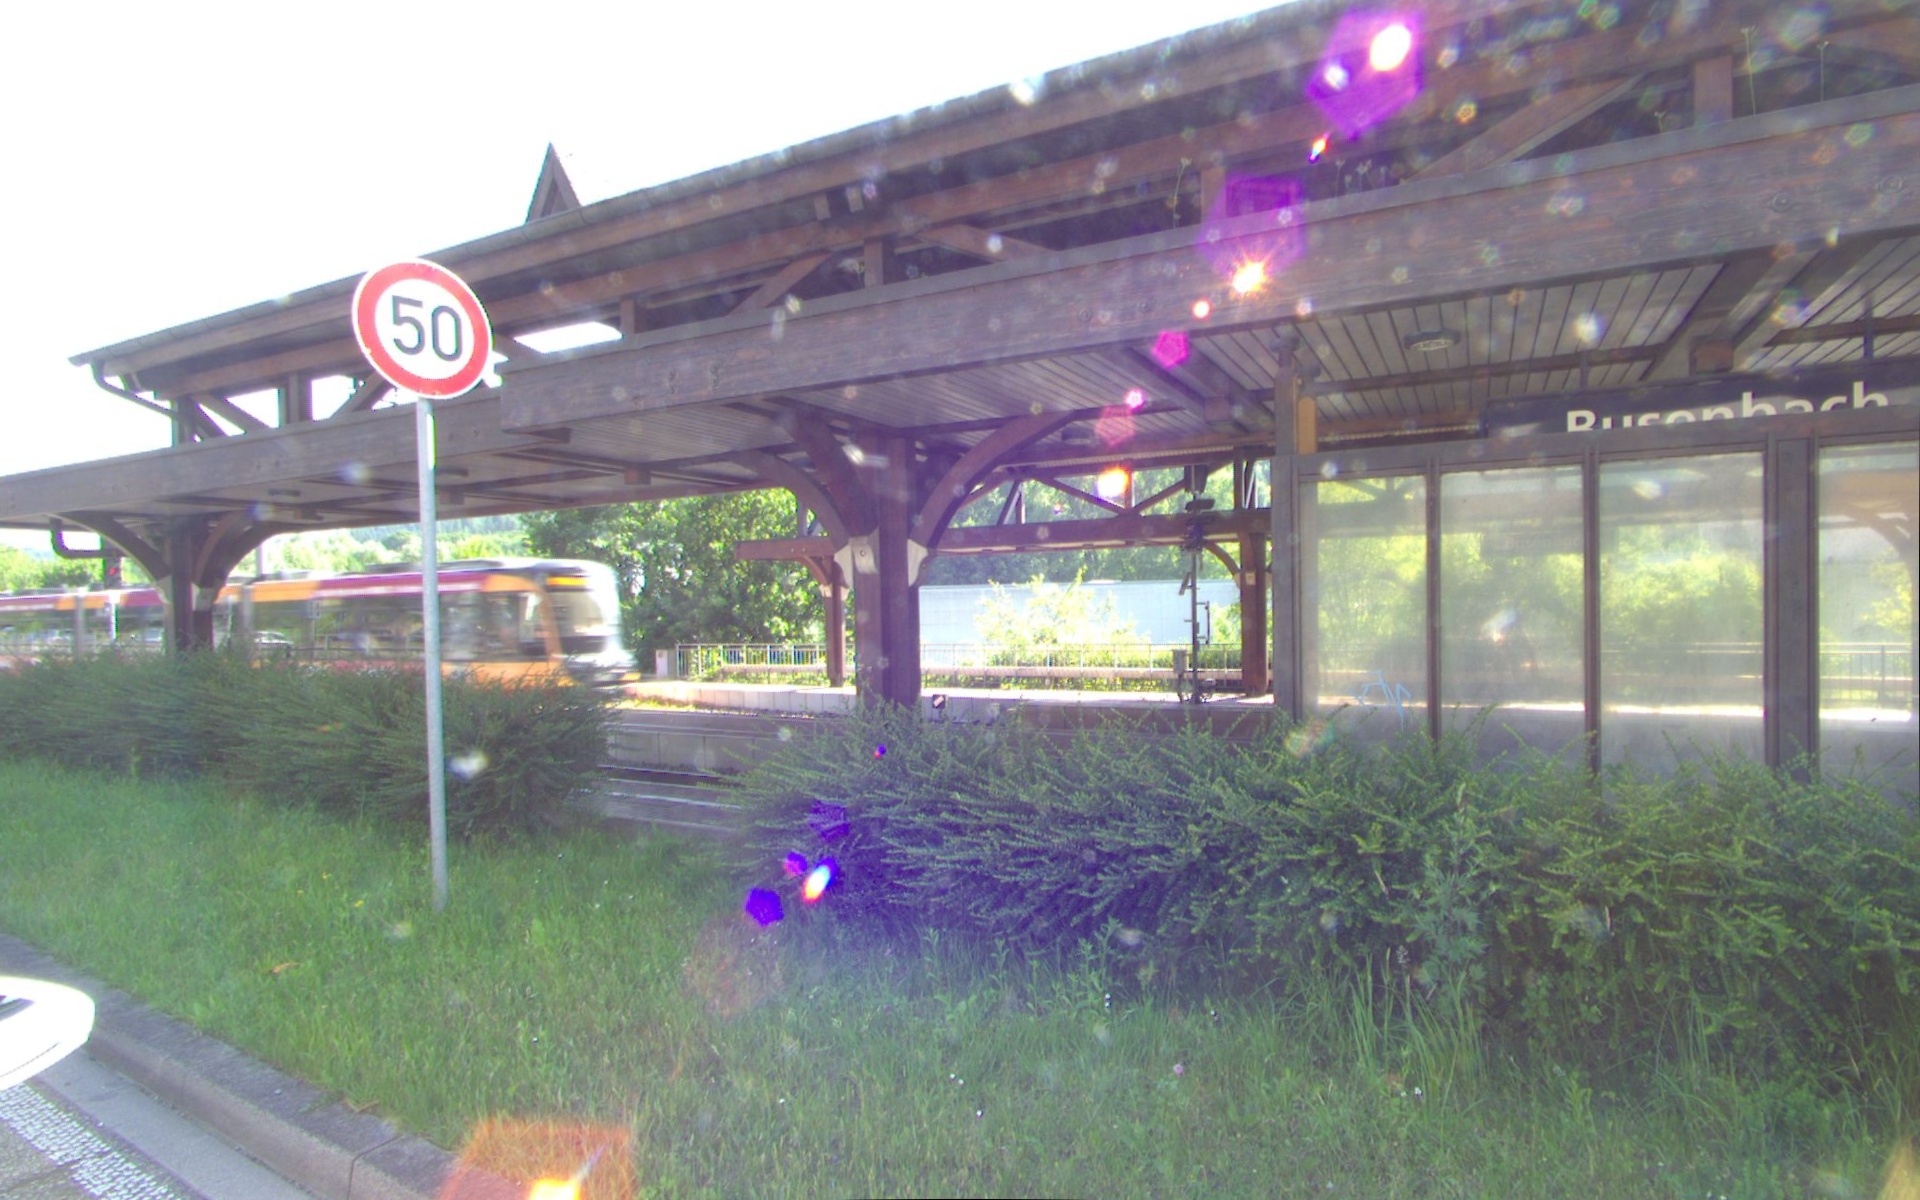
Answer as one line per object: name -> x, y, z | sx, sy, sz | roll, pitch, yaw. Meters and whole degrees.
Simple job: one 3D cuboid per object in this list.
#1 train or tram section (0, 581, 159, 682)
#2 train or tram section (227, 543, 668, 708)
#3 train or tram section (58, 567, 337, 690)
train or tram section -> -34.809, 1.122, 37.735 | 11.861, 3.407, 2.755 | 0, -2, 29
train or tram section -> -13.576, 0.632, 25.545 | 14.139, 3.408, 2.853 | -1, -1, 30
train or tram section -> -24.588, 0.943, 31.963 | 11.870, 3.406, 2.784 | -1, -2, 31
